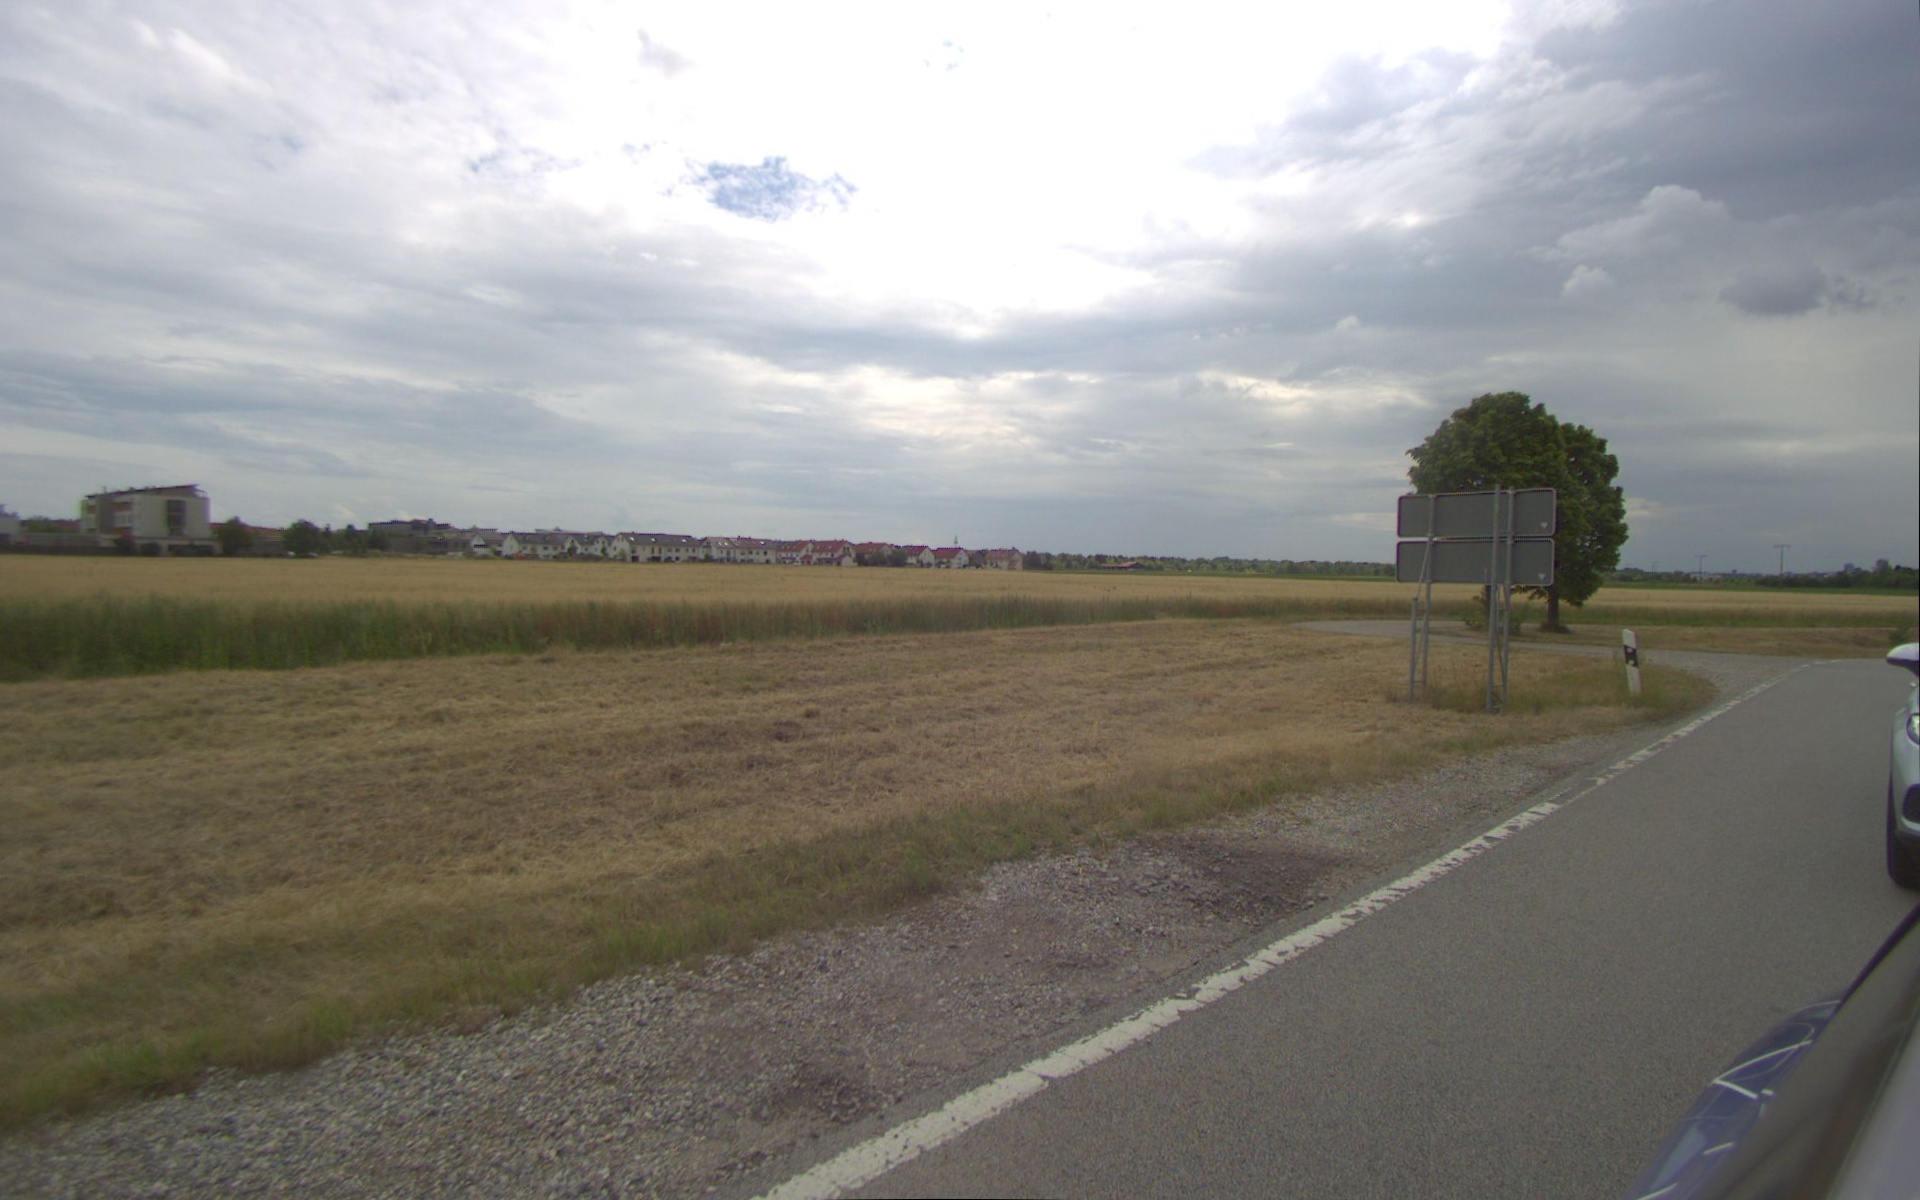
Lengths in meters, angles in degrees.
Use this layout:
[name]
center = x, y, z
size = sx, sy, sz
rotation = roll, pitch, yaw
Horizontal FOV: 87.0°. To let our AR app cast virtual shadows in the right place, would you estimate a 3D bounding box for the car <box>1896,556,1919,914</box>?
[car]
center = 6.435, 0.617, 5.504
size = 1.832, 1.606, 4.378
rotation = 1, 1, 45
